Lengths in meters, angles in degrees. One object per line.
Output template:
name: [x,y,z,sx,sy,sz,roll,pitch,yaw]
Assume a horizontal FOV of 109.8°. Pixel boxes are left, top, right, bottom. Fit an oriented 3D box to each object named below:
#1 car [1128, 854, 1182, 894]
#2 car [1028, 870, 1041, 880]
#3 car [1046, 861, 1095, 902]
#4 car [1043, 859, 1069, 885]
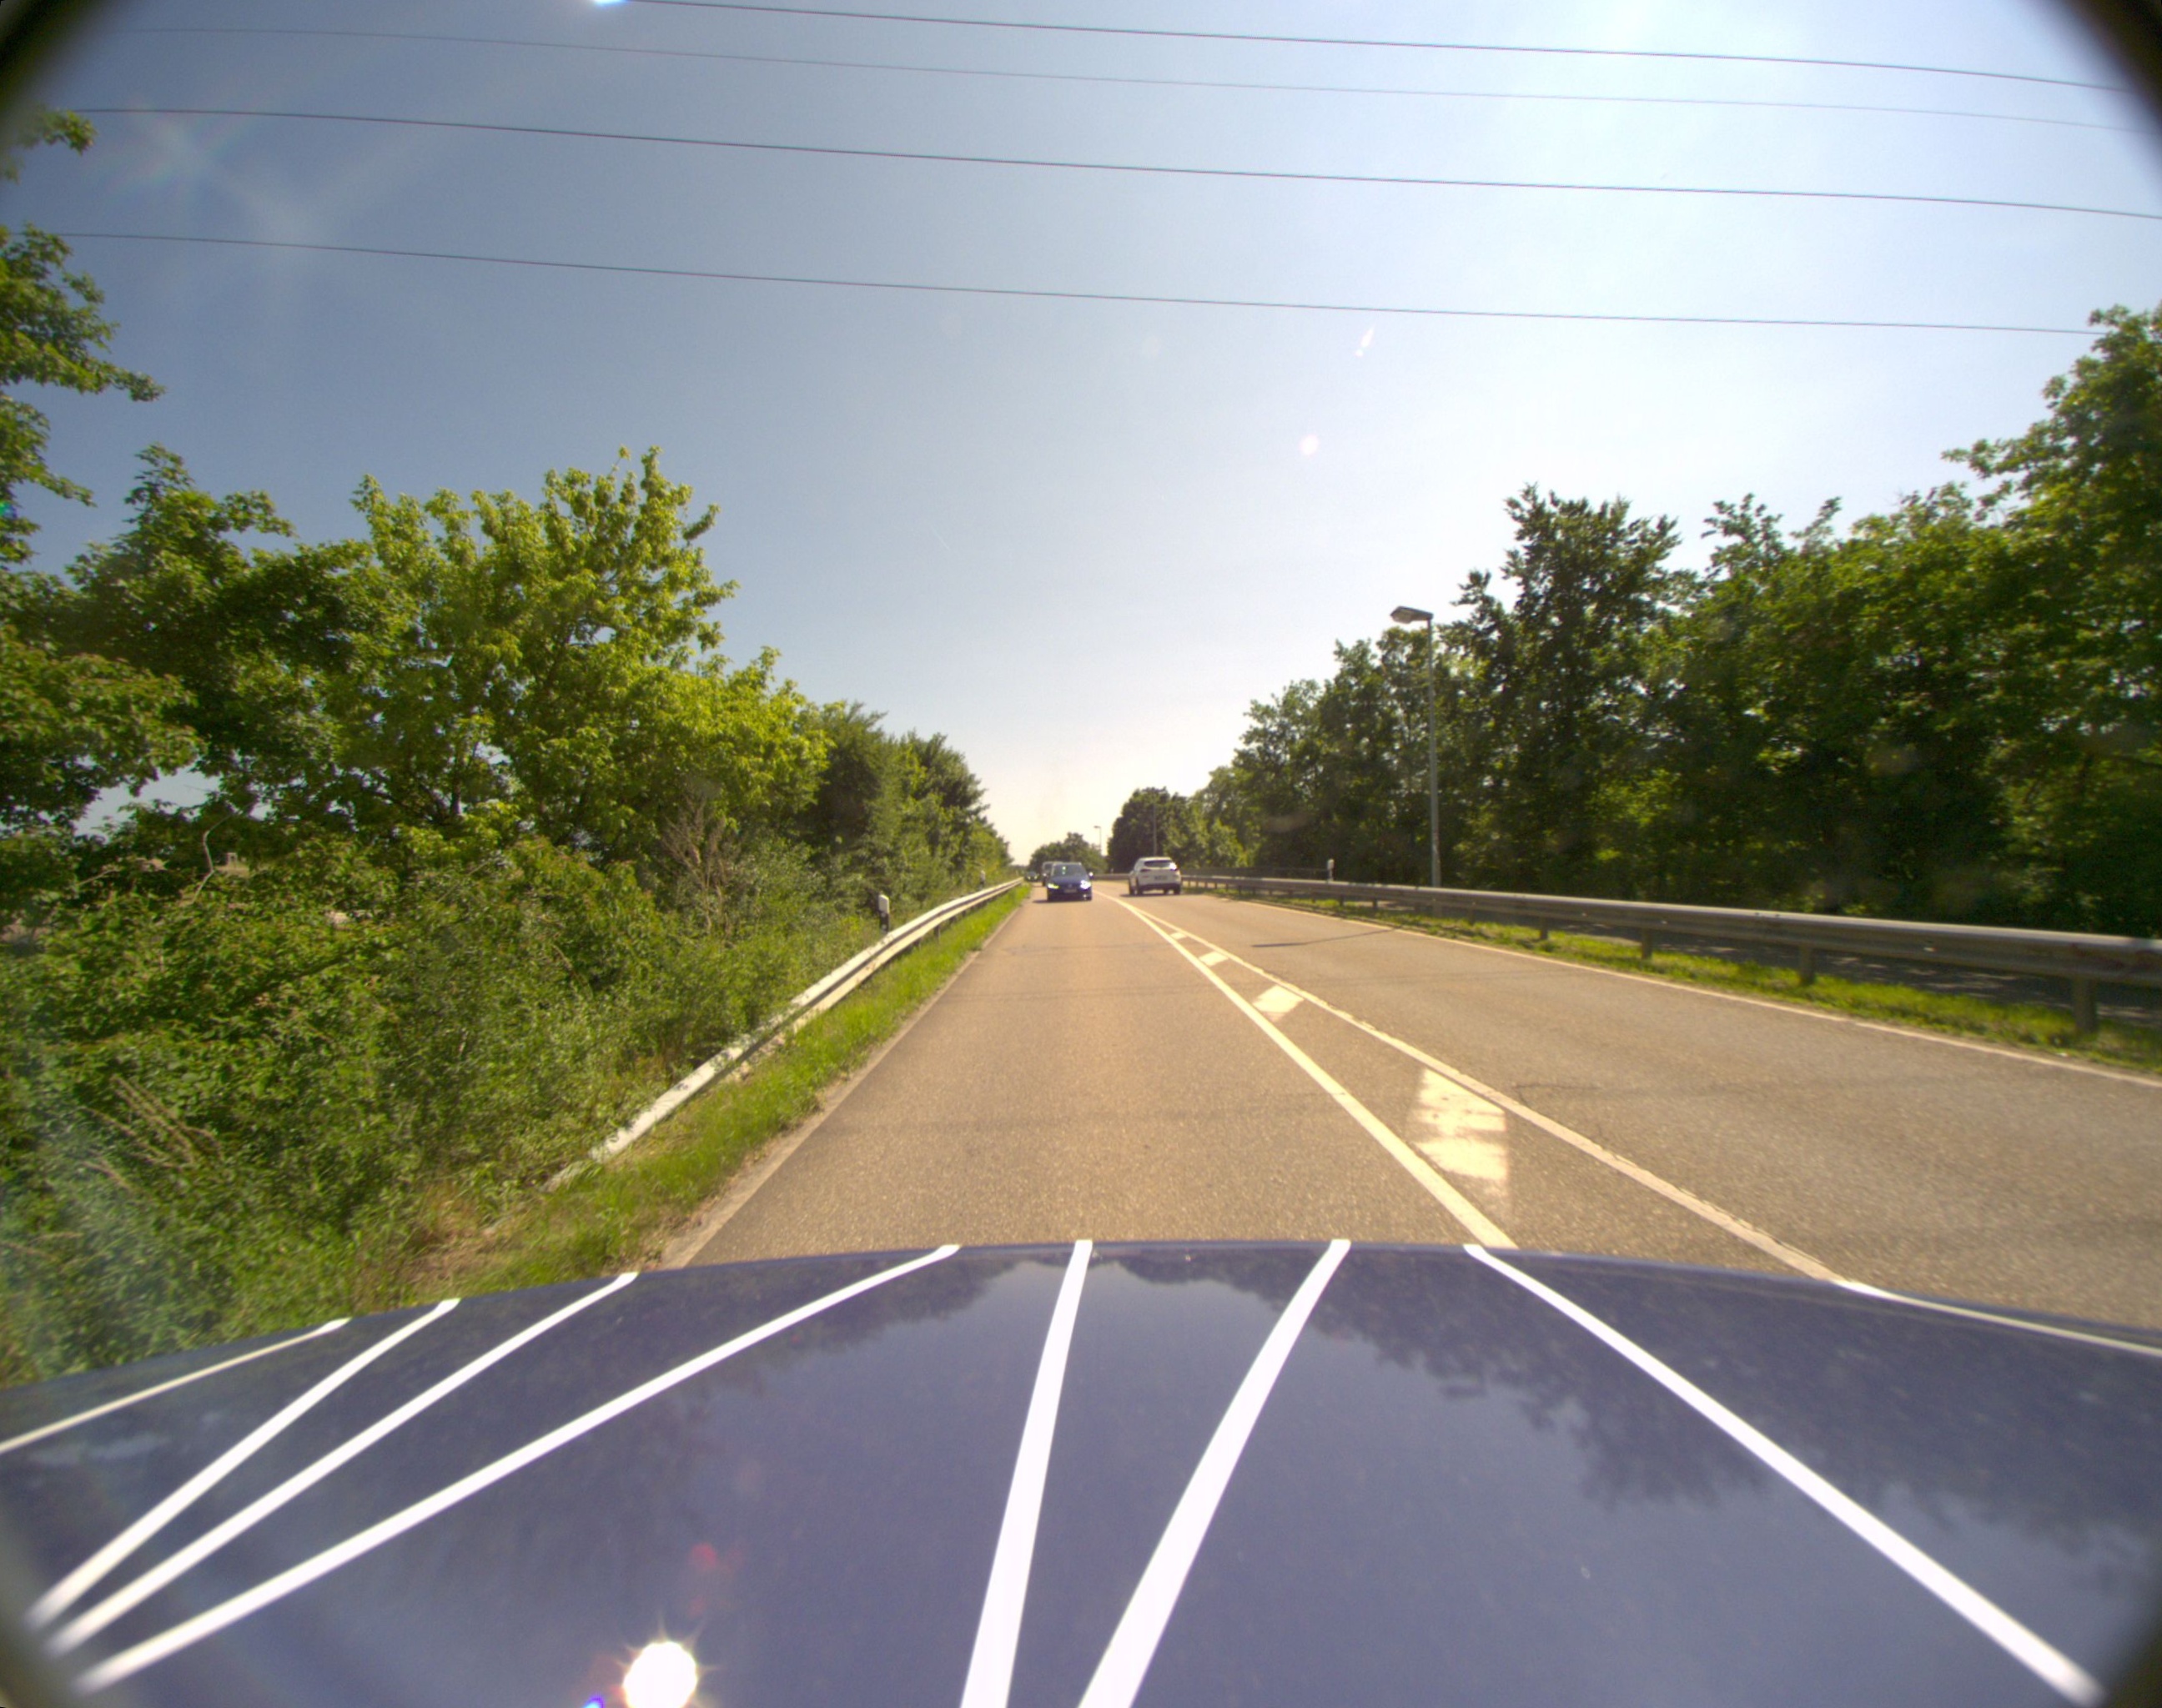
car: [3.279,0.870,34.238,1.829,1.630,4.140,-2,0,-2]
car: [-7.080,3.165,115.820,1.765,1.529,3.683,-1,-1,-5]
car: [-0.497,1.114,31.777,1.765,1.519,4.422,-3,-1,-4]
car: [-2.064,1.484,61.773,1.765,1.953,4.260,-3,-1,-5]
